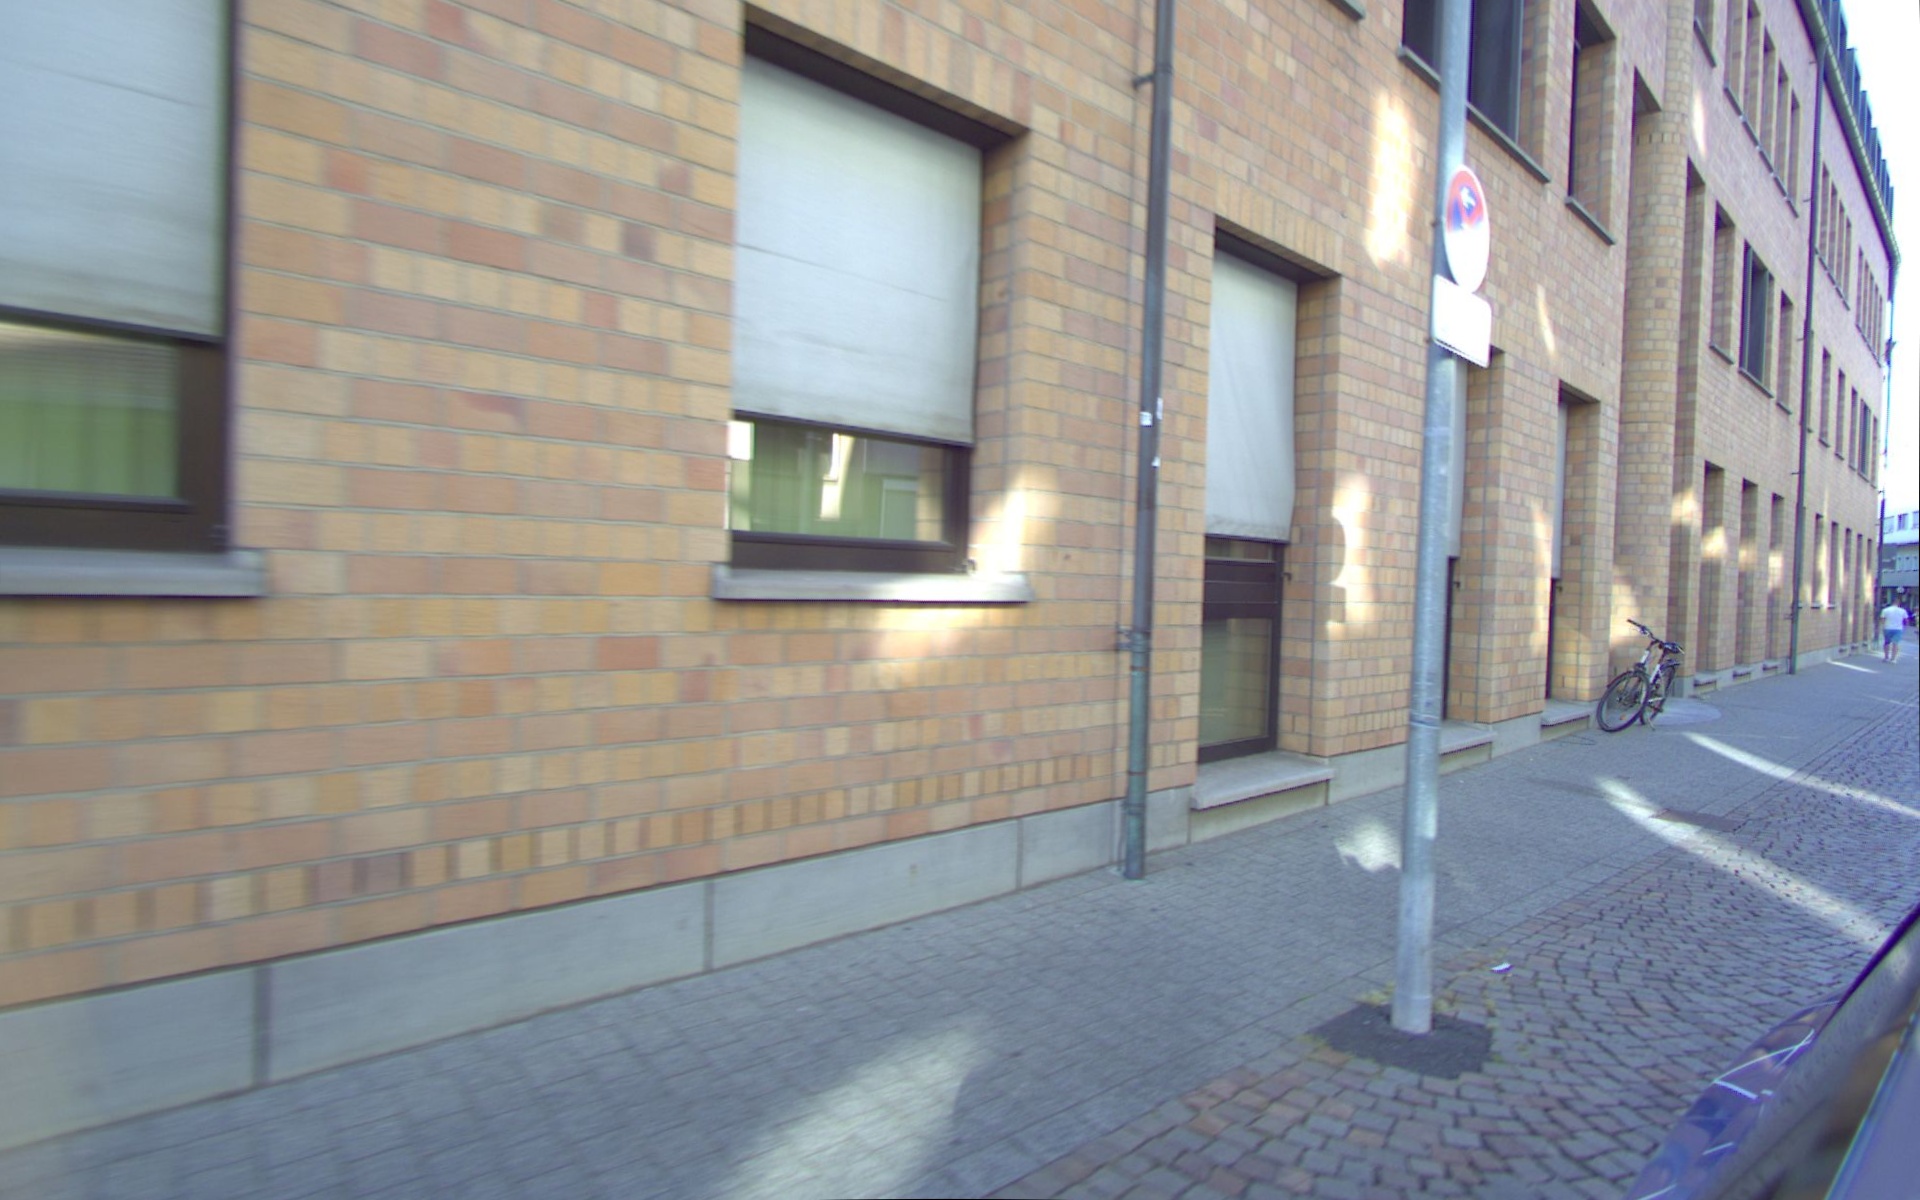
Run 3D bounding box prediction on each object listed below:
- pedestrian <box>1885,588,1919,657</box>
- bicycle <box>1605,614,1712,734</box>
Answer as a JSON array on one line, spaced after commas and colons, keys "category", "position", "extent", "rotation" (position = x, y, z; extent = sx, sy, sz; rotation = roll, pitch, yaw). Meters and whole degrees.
[{"category": "pedestrian", "position": [24.908, 0.582, 26.579], "extent": [0.808, 1.737, 0.761], "rotation": [1, 3, -43]}, {"category": "bicycle", "position": [7.533, 0.746, 10.877], "extent": [0.550, 1.116, 1.950], "rotation": [7, 5, 44]}]
